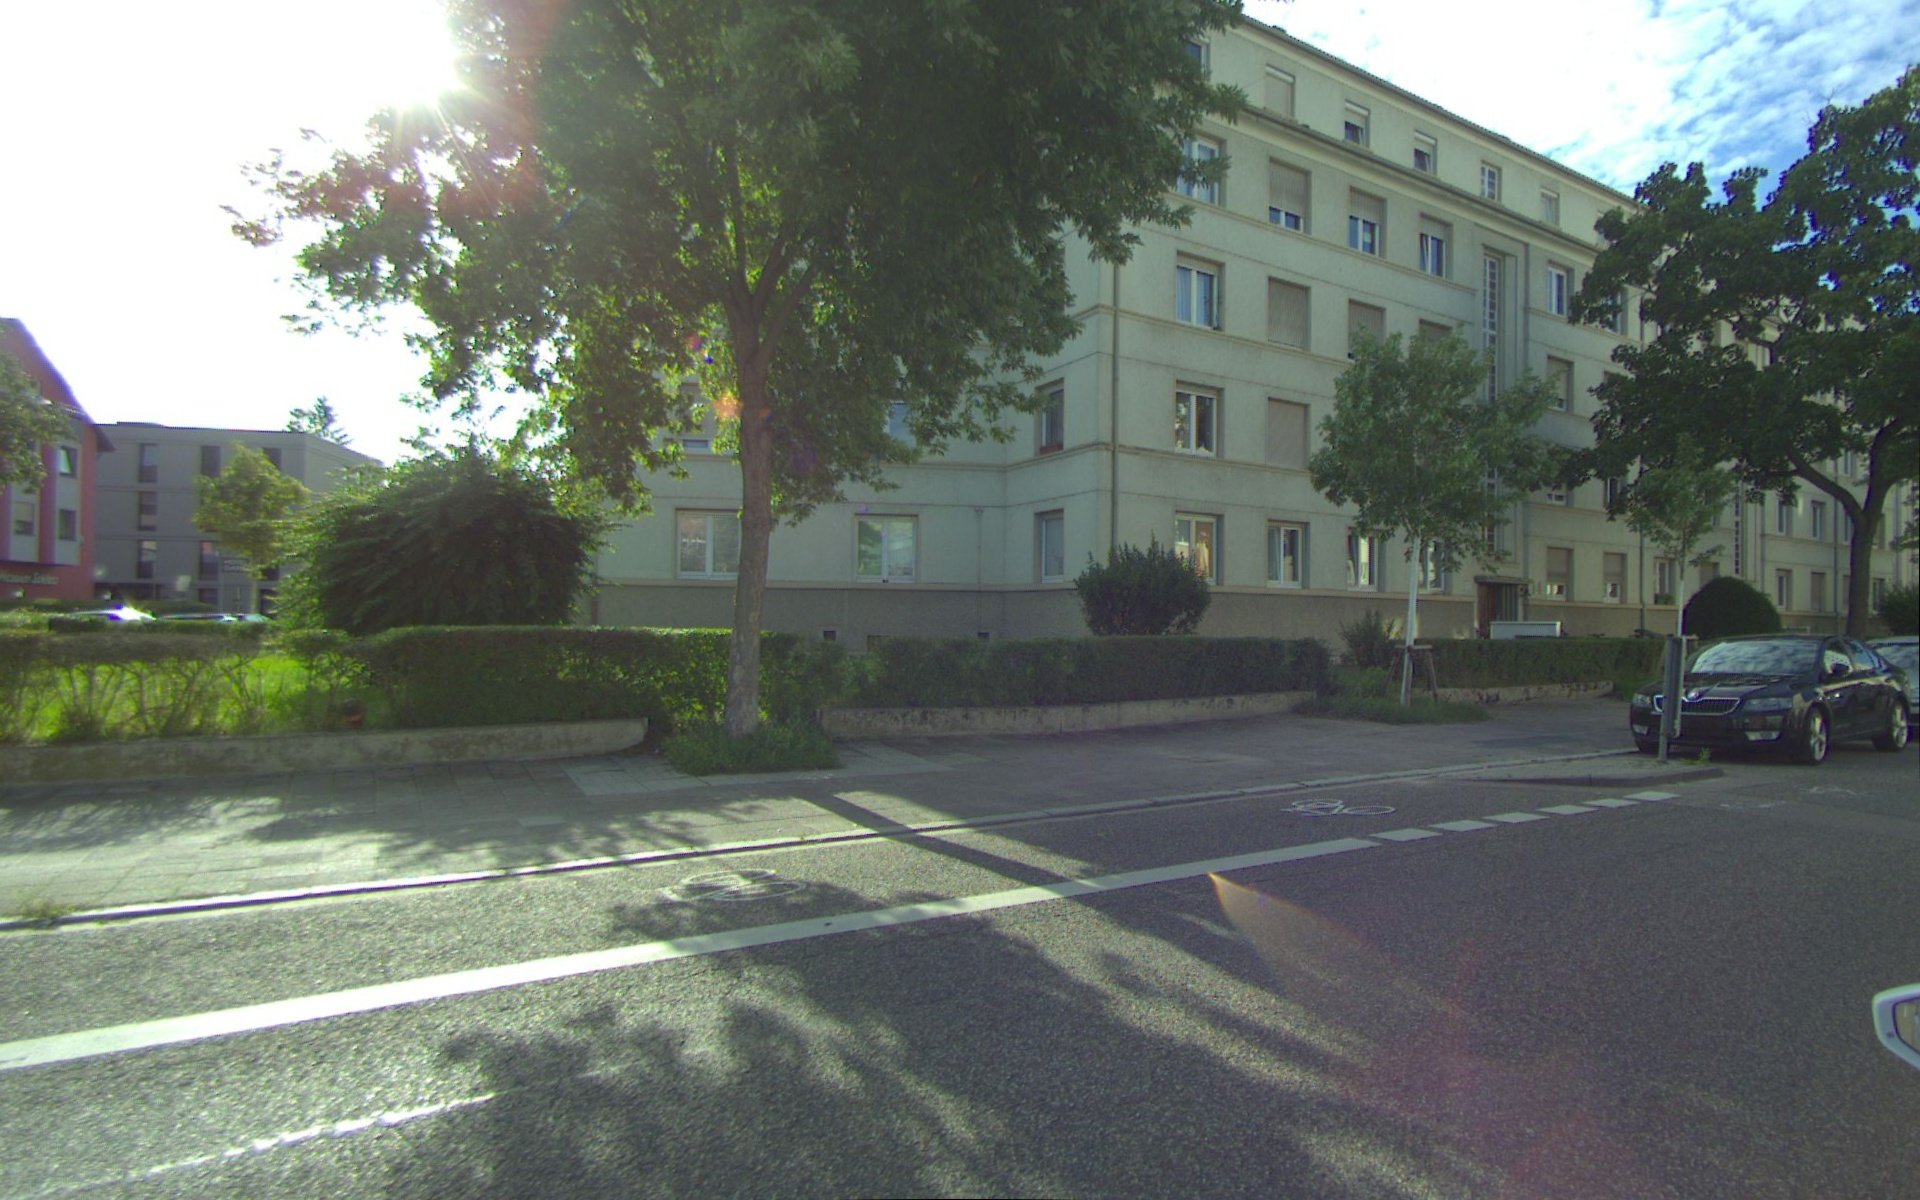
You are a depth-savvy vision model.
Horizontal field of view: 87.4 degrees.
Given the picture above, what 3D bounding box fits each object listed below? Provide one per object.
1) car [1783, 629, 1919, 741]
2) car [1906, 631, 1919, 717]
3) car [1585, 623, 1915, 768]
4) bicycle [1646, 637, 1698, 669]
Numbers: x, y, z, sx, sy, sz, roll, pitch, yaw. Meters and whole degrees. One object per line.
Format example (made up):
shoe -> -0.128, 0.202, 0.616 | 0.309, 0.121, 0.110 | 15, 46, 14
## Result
car -> 14.495, 1.221, 15.187 | 4.319, 1.505, 1.811 | 1, -3, -31
car -> 19.034, 1.322, 18.049 | 4.631, 1.505, 1.846 | 1, -2, -32
car -> 9.882, 1.091, 12.486 | 4.373, 1.505, 1.916 | 1, -3, -33
bicycle -> 25.329, 1.887, 35.718 | 2.378, 1.074, 0.630 | 2, -1, -33
